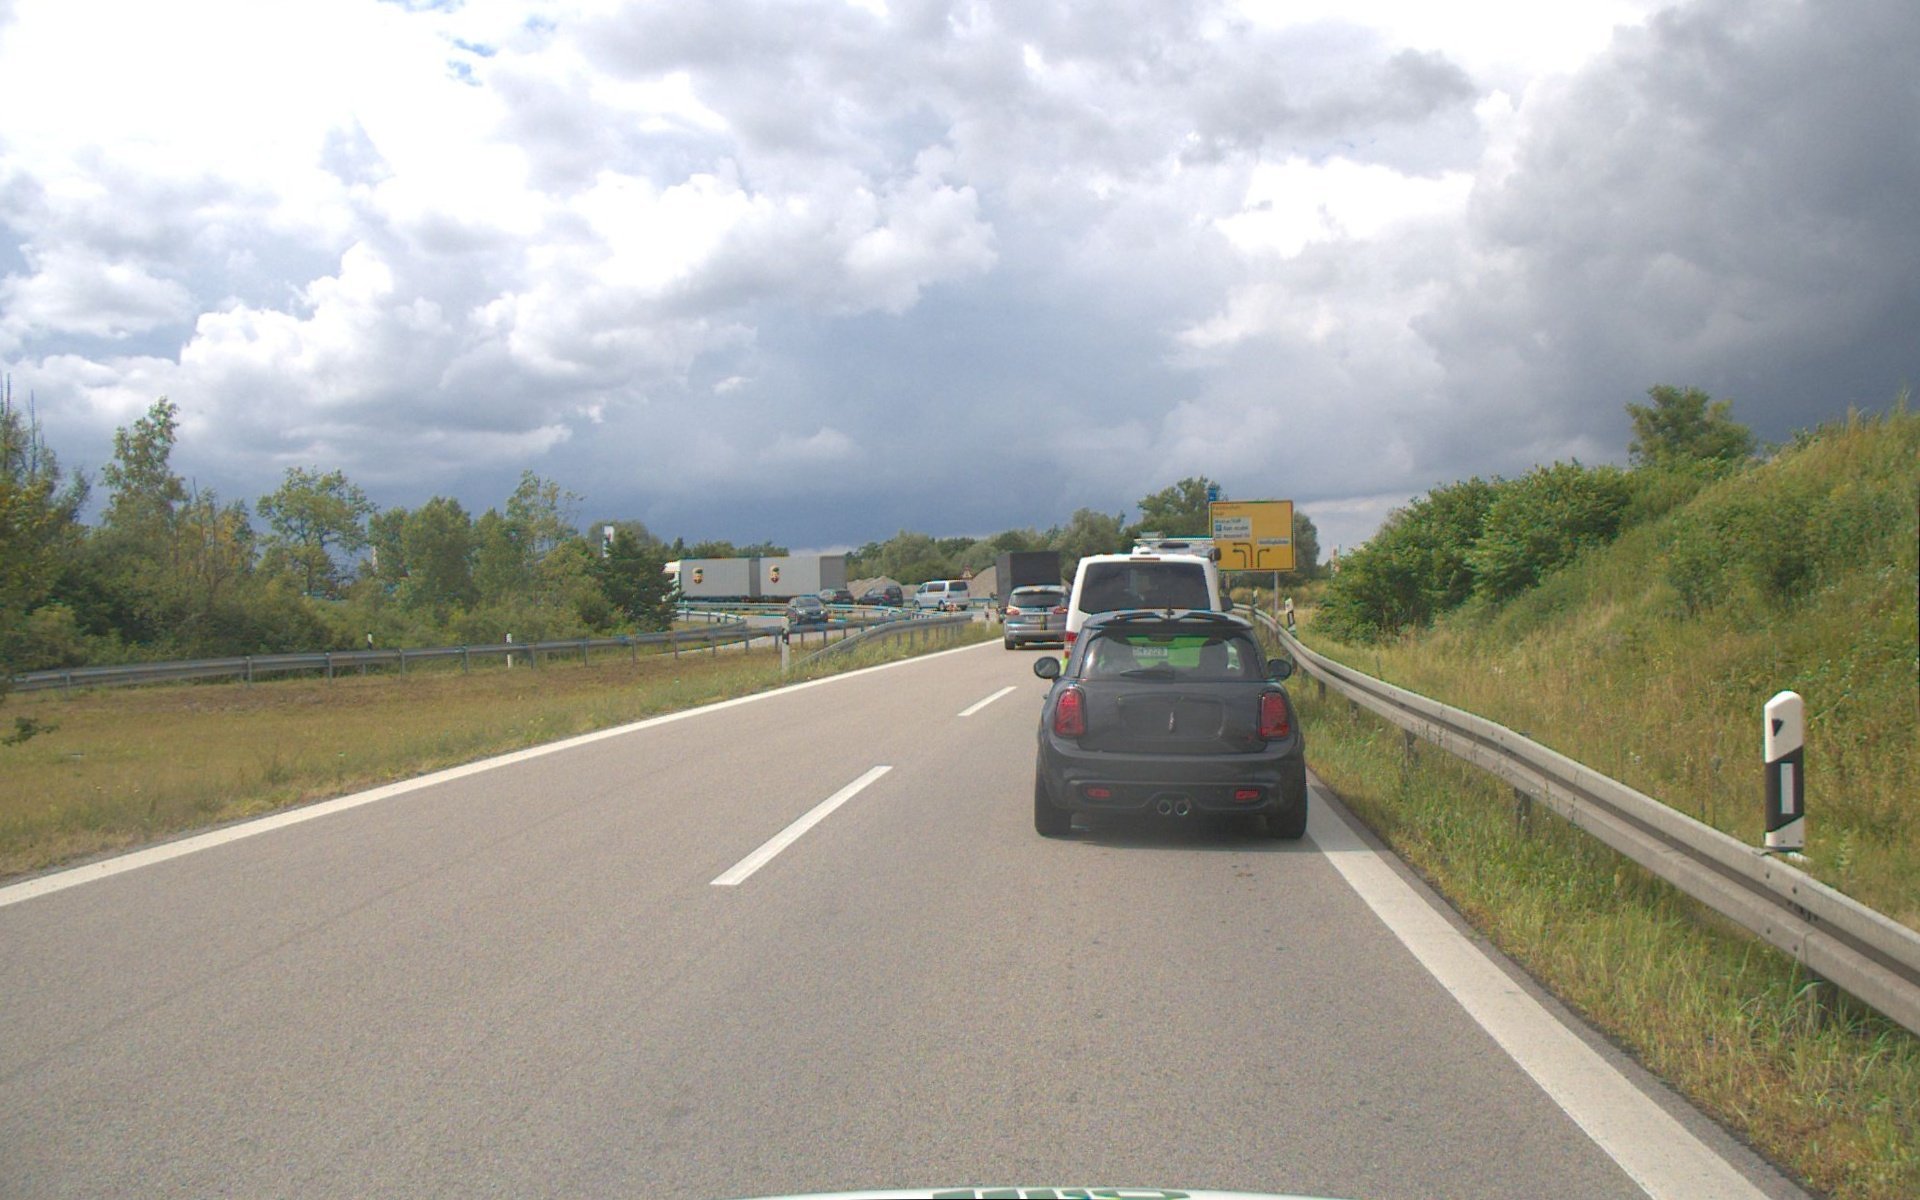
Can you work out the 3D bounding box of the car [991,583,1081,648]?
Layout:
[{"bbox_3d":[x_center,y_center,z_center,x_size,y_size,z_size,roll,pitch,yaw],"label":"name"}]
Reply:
[{"bbox_3d":[2.097,0.421,44.365,1.978,1.605,4.590,-1,-1,8],"label":"car"}]

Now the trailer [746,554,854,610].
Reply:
[{"bbox_3d":[-12.006,-1.312,123.536,8.620,3.966,3.026,0,-1,43],"label":"trailer"}]

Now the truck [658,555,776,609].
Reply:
[{"bbox_3d":[-19.079,-1.422,129.347,9.826,4.046,2.835,0,-1,35],"label":"truck"}]

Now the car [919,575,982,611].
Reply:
[{"bbox_3d":[-0.660,-0.439,110.495,2.262,2.300,5.064,1,-1,-26],"label":"car"}]

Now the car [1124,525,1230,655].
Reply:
[{"bbox_3d":[4.852,-0.177,37.203,2.165,2.668,5.538,1,-1,7],"label":"car"}]

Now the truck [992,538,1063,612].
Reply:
[{"bbox_3d":[3.108,-1.098,77.915,2.510,3.223,7.461,1,-1,-4],"label":"truck"}]

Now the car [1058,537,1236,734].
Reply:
[{"bbox_3d":[2.261,0.383,19.695,1.870,2.081,4.184,0,0,8],"label":"car"}]

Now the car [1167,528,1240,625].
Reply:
[{"bbox_3d":[8.488,-0.723,57.168,2.261,3.122,6.667,1,-1,10],"label":"car"}]

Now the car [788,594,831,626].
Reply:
[{"bbox_3d":[-8.350,0.547,91.289,1.730,1.621,3.985,-2,-1,-14],"label":"car"}]

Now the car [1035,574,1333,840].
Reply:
[{"bbox_3d":[1.459,0.640,11.773,1.762,1.573,3.740,1,0,4],"label":"car"}]

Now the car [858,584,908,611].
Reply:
[{"bbox_3d":[-5.534,-0.149,117.886,1.899,1.870,4.277,2,-1,-28],"label":"car"}]

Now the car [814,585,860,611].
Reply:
[{"bbox_3d":[-8.630,-0.140,115.772,1.792,1.786,3.963,2,-1,-28],"label":"car"}]
